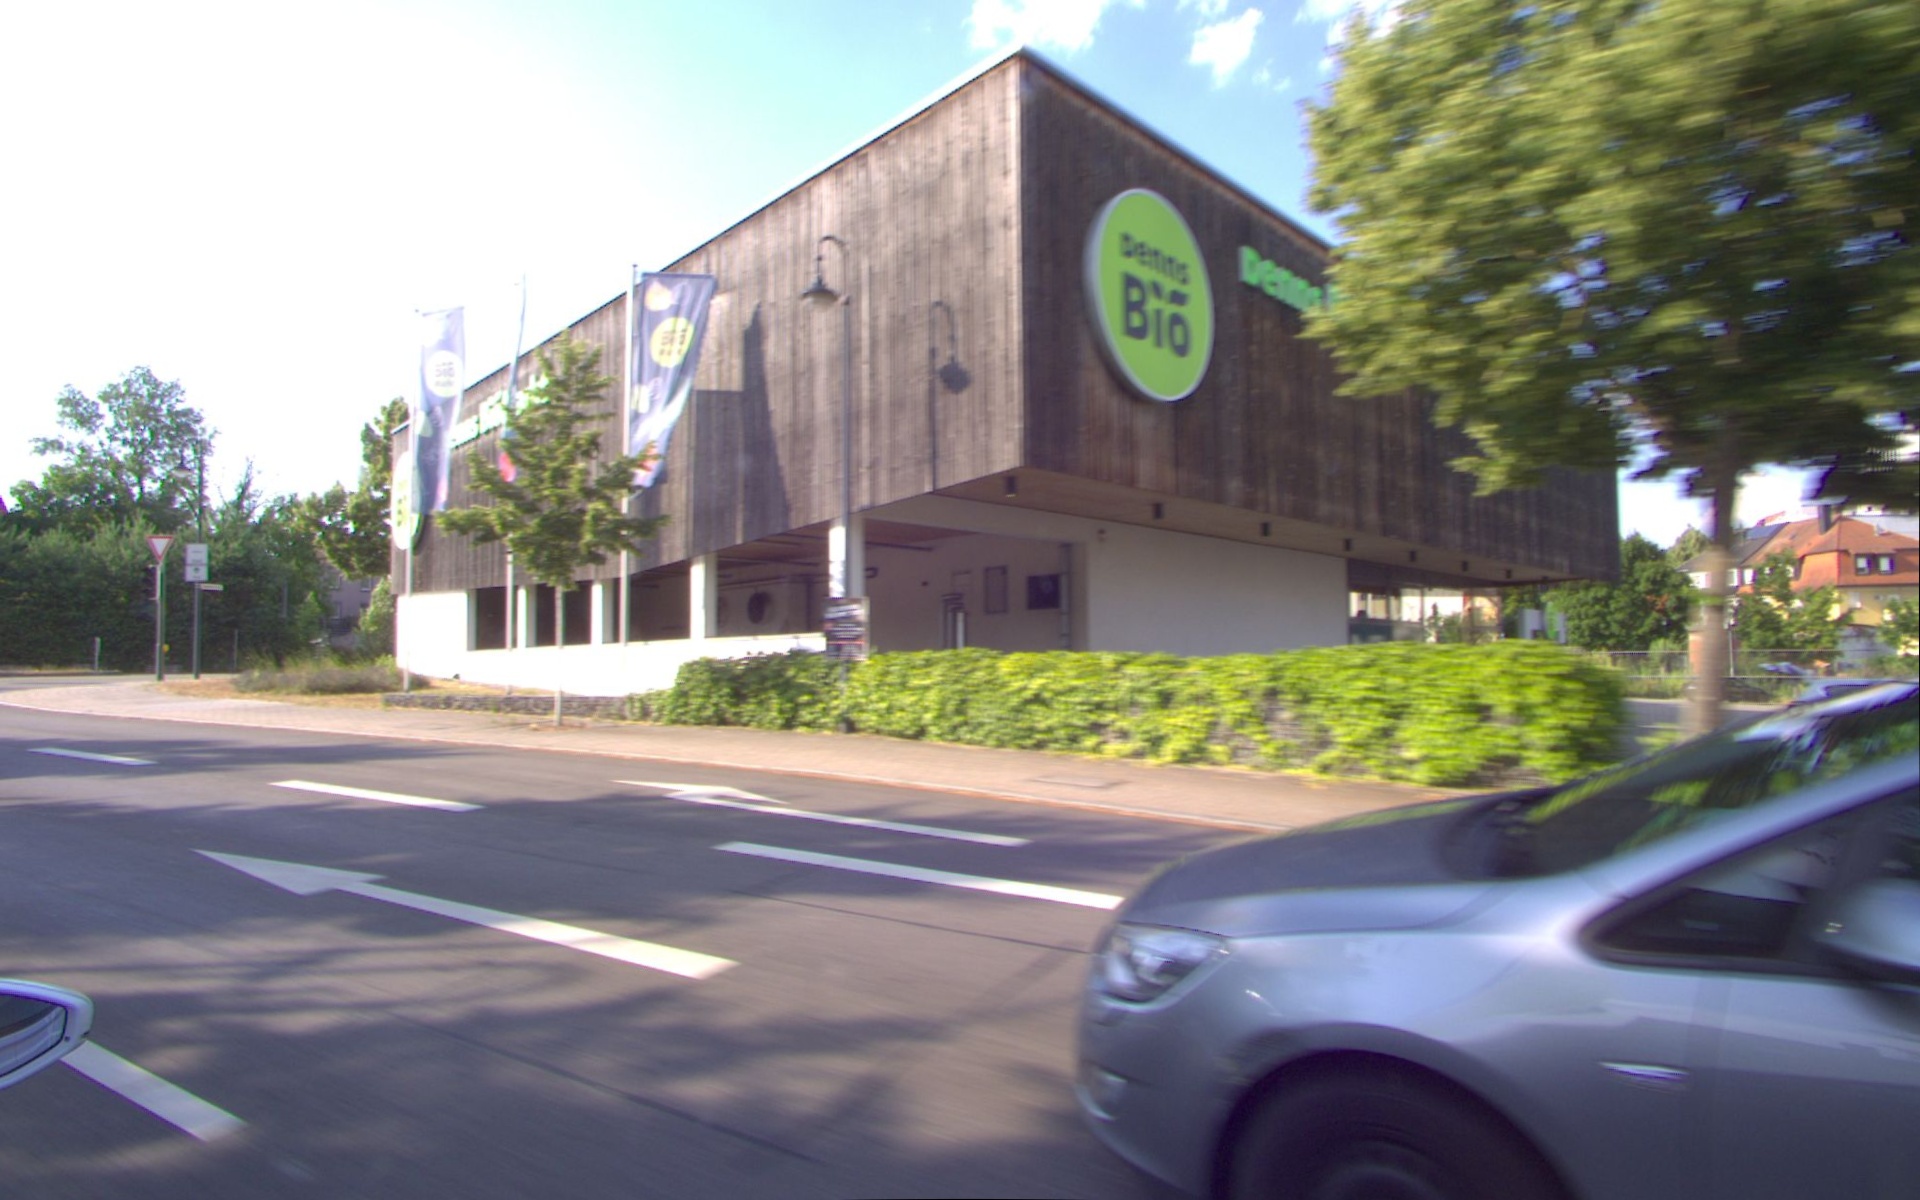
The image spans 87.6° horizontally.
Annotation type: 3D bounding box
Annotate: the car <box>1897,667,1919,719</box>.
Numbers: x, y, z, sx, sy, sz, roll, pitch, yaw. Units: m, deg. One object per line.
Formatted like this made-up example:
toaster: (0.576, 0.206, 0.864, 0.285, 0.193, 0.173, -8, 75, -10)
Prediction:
car: (32.646, 3.010, 31.935, 1.982, 1.648, 3.960, 3, -4, -45)

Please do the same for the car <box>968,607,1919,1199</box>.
car: (2.256, 0.785, 1.929, 4.246, 1.509, 1.718, -1, -2, 33)

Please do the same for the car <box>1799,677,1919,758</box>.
car: (21.221, 2.584, 22.129, 1.982, 1.648, 3.960, 3, -4, -45)
